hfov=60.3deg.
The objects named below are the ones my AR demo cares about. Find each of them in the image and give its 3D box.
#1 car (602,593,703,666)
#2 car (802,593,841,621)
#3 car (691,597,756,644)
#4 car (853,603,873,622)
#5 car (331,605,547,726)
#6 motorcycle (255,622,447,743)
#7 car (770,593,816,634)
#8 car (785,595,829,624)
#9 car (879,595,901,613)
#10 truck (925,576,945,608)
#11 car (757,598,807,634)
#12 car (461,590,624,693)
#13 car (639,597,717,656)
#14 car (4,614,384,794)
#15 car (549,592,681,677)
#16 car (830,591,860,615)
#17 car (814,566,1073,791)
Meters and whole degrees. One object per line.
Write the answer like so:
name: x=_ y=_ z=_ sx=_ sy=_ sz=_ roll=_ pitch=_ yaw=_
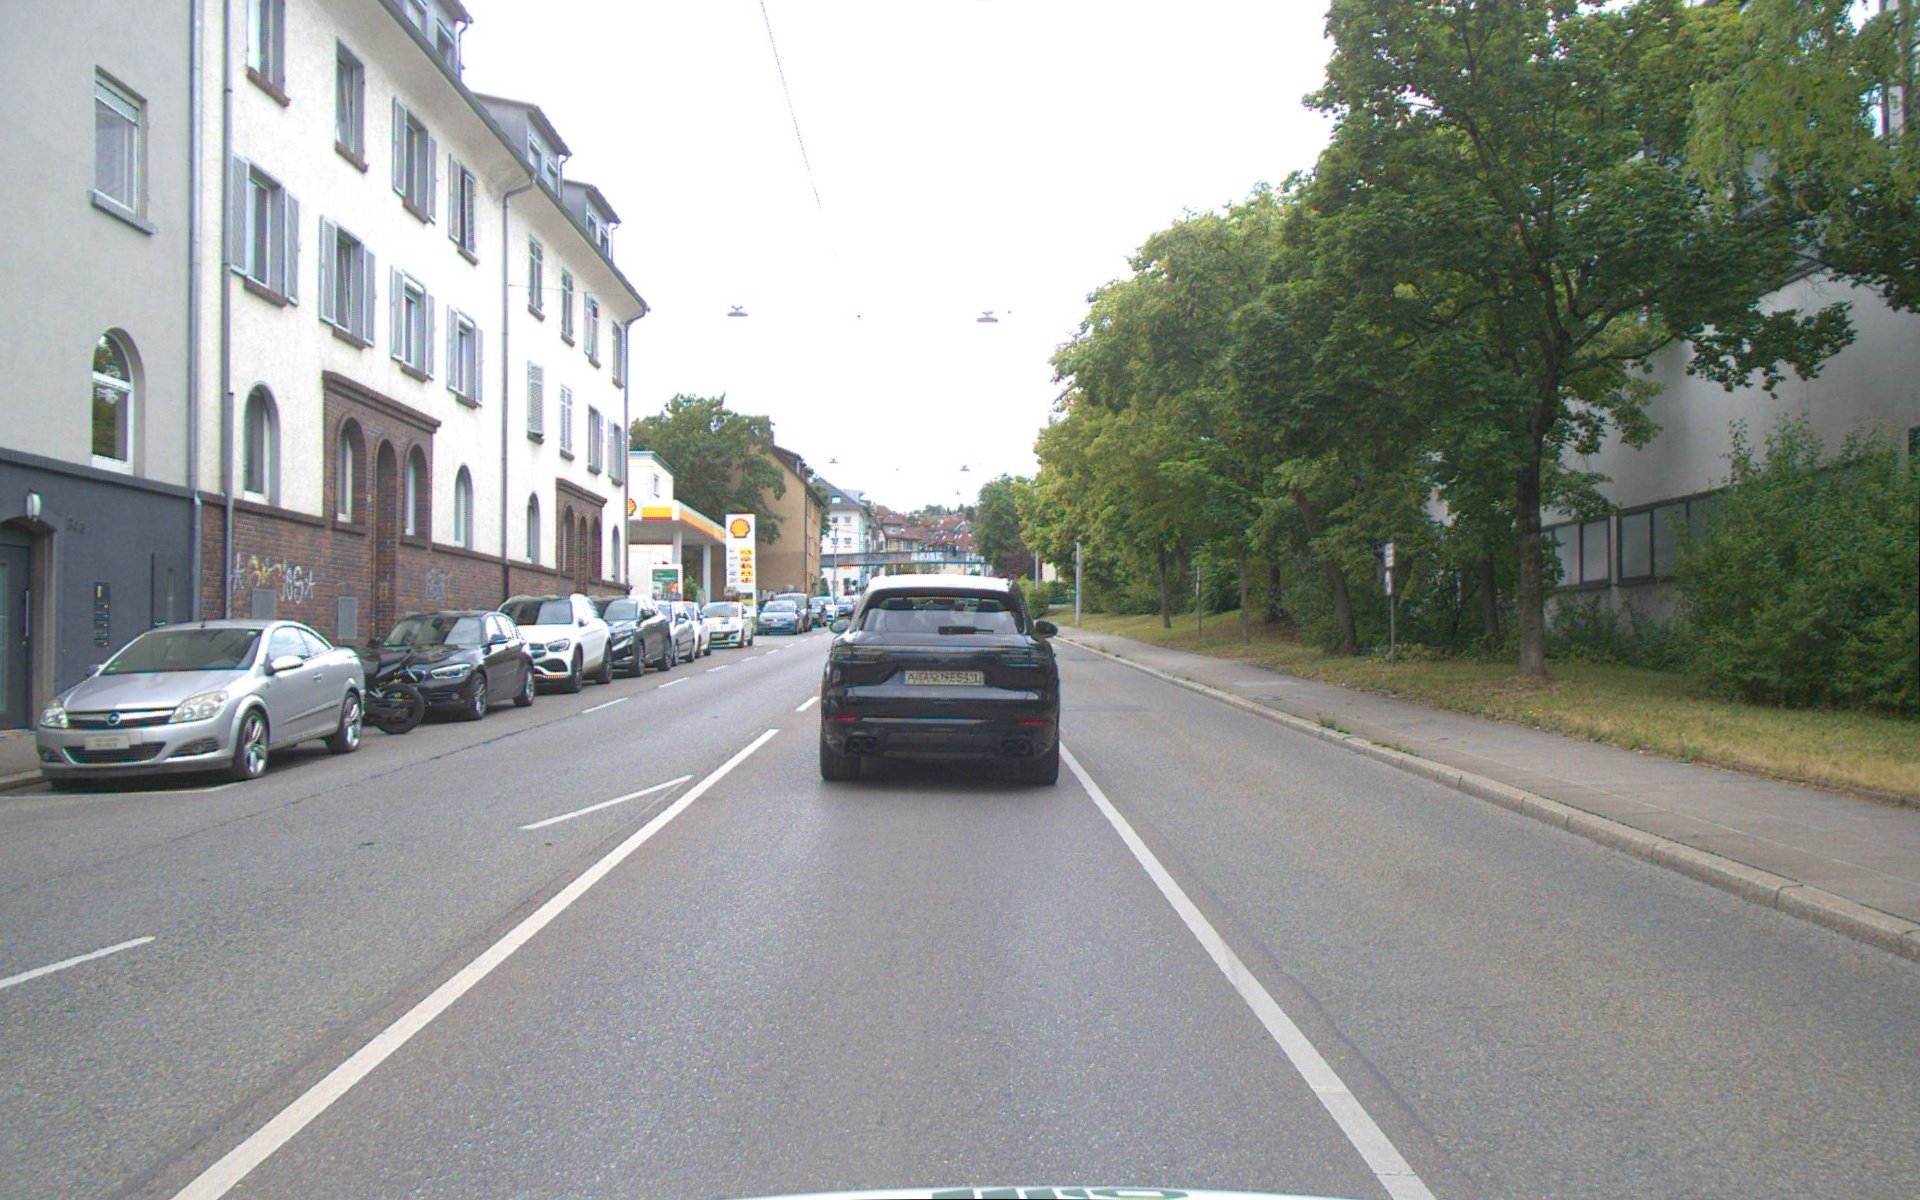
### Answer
car: x=-7.322 y=0.686 z=39.737 sx=1.692 sy=1.585 sz=4.080 roll=-3 pitch=0 yaw=-1
car: x=-8.201 y=0.399 z=98.330 sx=1.876 sy=1.605 sz=4.699 roll=-1 pitch=0 yaw=0
car: x=-7.674 y=0.646 z=53.857 sx=1.586 sy=1.450 sz=3.665 roll=-1 pitch=0 yaw=0
car: x=-8.826 y=1.124 z=150.431 sx=1.711 sy=1.596 sz=3.906 roll=-2 pitch=0 yaw=-3
car: x=-7.050 y=0.826 z=22.814 sx=1.692 sy=1.454 sz=4.191 roll=-1 pitch=0 yaw=-1
motorcycle: x=-7.070 y=0.941 z=19.308 sx=2.009 sy=1.257 sz=0.803 roll=-3 pitch=1 yaw=-19
car: x=-7.853 y=0.621 z=77.940 sx=1.814 sy=1.867 sz=4.700 roll=-1 pitch=0 yaw=-2
car: x=-8.206 y=0.506 z=88.978 sx=1.760 sy=1.456 sz=4.744 roll=-1 pitch=0 yaw=1
car: x=-6.083 y=0.334 z=143.608 sx=1.761 sy=1.551 sz=3.999 roll=-1 pitch=0 yaw=-1
truck: x=-2.841 y=-0.871 z=188.374 sx=2.220 sy=3.484 sz=9.876 roll=0 pitch=0 yaw=-1
car: x=-7.721 y=0.689 z=72.088 sx=1.754 sy=1.475 sz=4.217 roll=-1 pitch=0 yaw=-1
car: x=-7.271 y=0.669 z=29.254 sx=1.808 sy=1.649 sz=4.642 roll=-1 pitch=0 yaw=-2
car: x=-7.580 y=0.689 z=44.664 sx=1.516 sy=1.501 sz=3.603 roll=-1 pitch=0 yaw=-1
car: x=-7.019 y=0.866 z=15.699 sx=1.692 sy=1.398 sz=4.336 roll=-1 pitch=0 yaw=-2
car: x=-7.104 y=0.663 z=34.511 sx=1.691 sy=1.627 sz=4.502 roll=-1 pitch=0 yaw=1
car: x=-8.335 y=0.218 z=120.223 sx=1.746 sy=1.637 sz=4.264 roll=-2 pitch=0 yaw=0
car: x=-0.133 y=0.581 z=14.525 sx=1.953 sy=1.691 sz=4.000 roll=0 pitch=0 yaw=0
